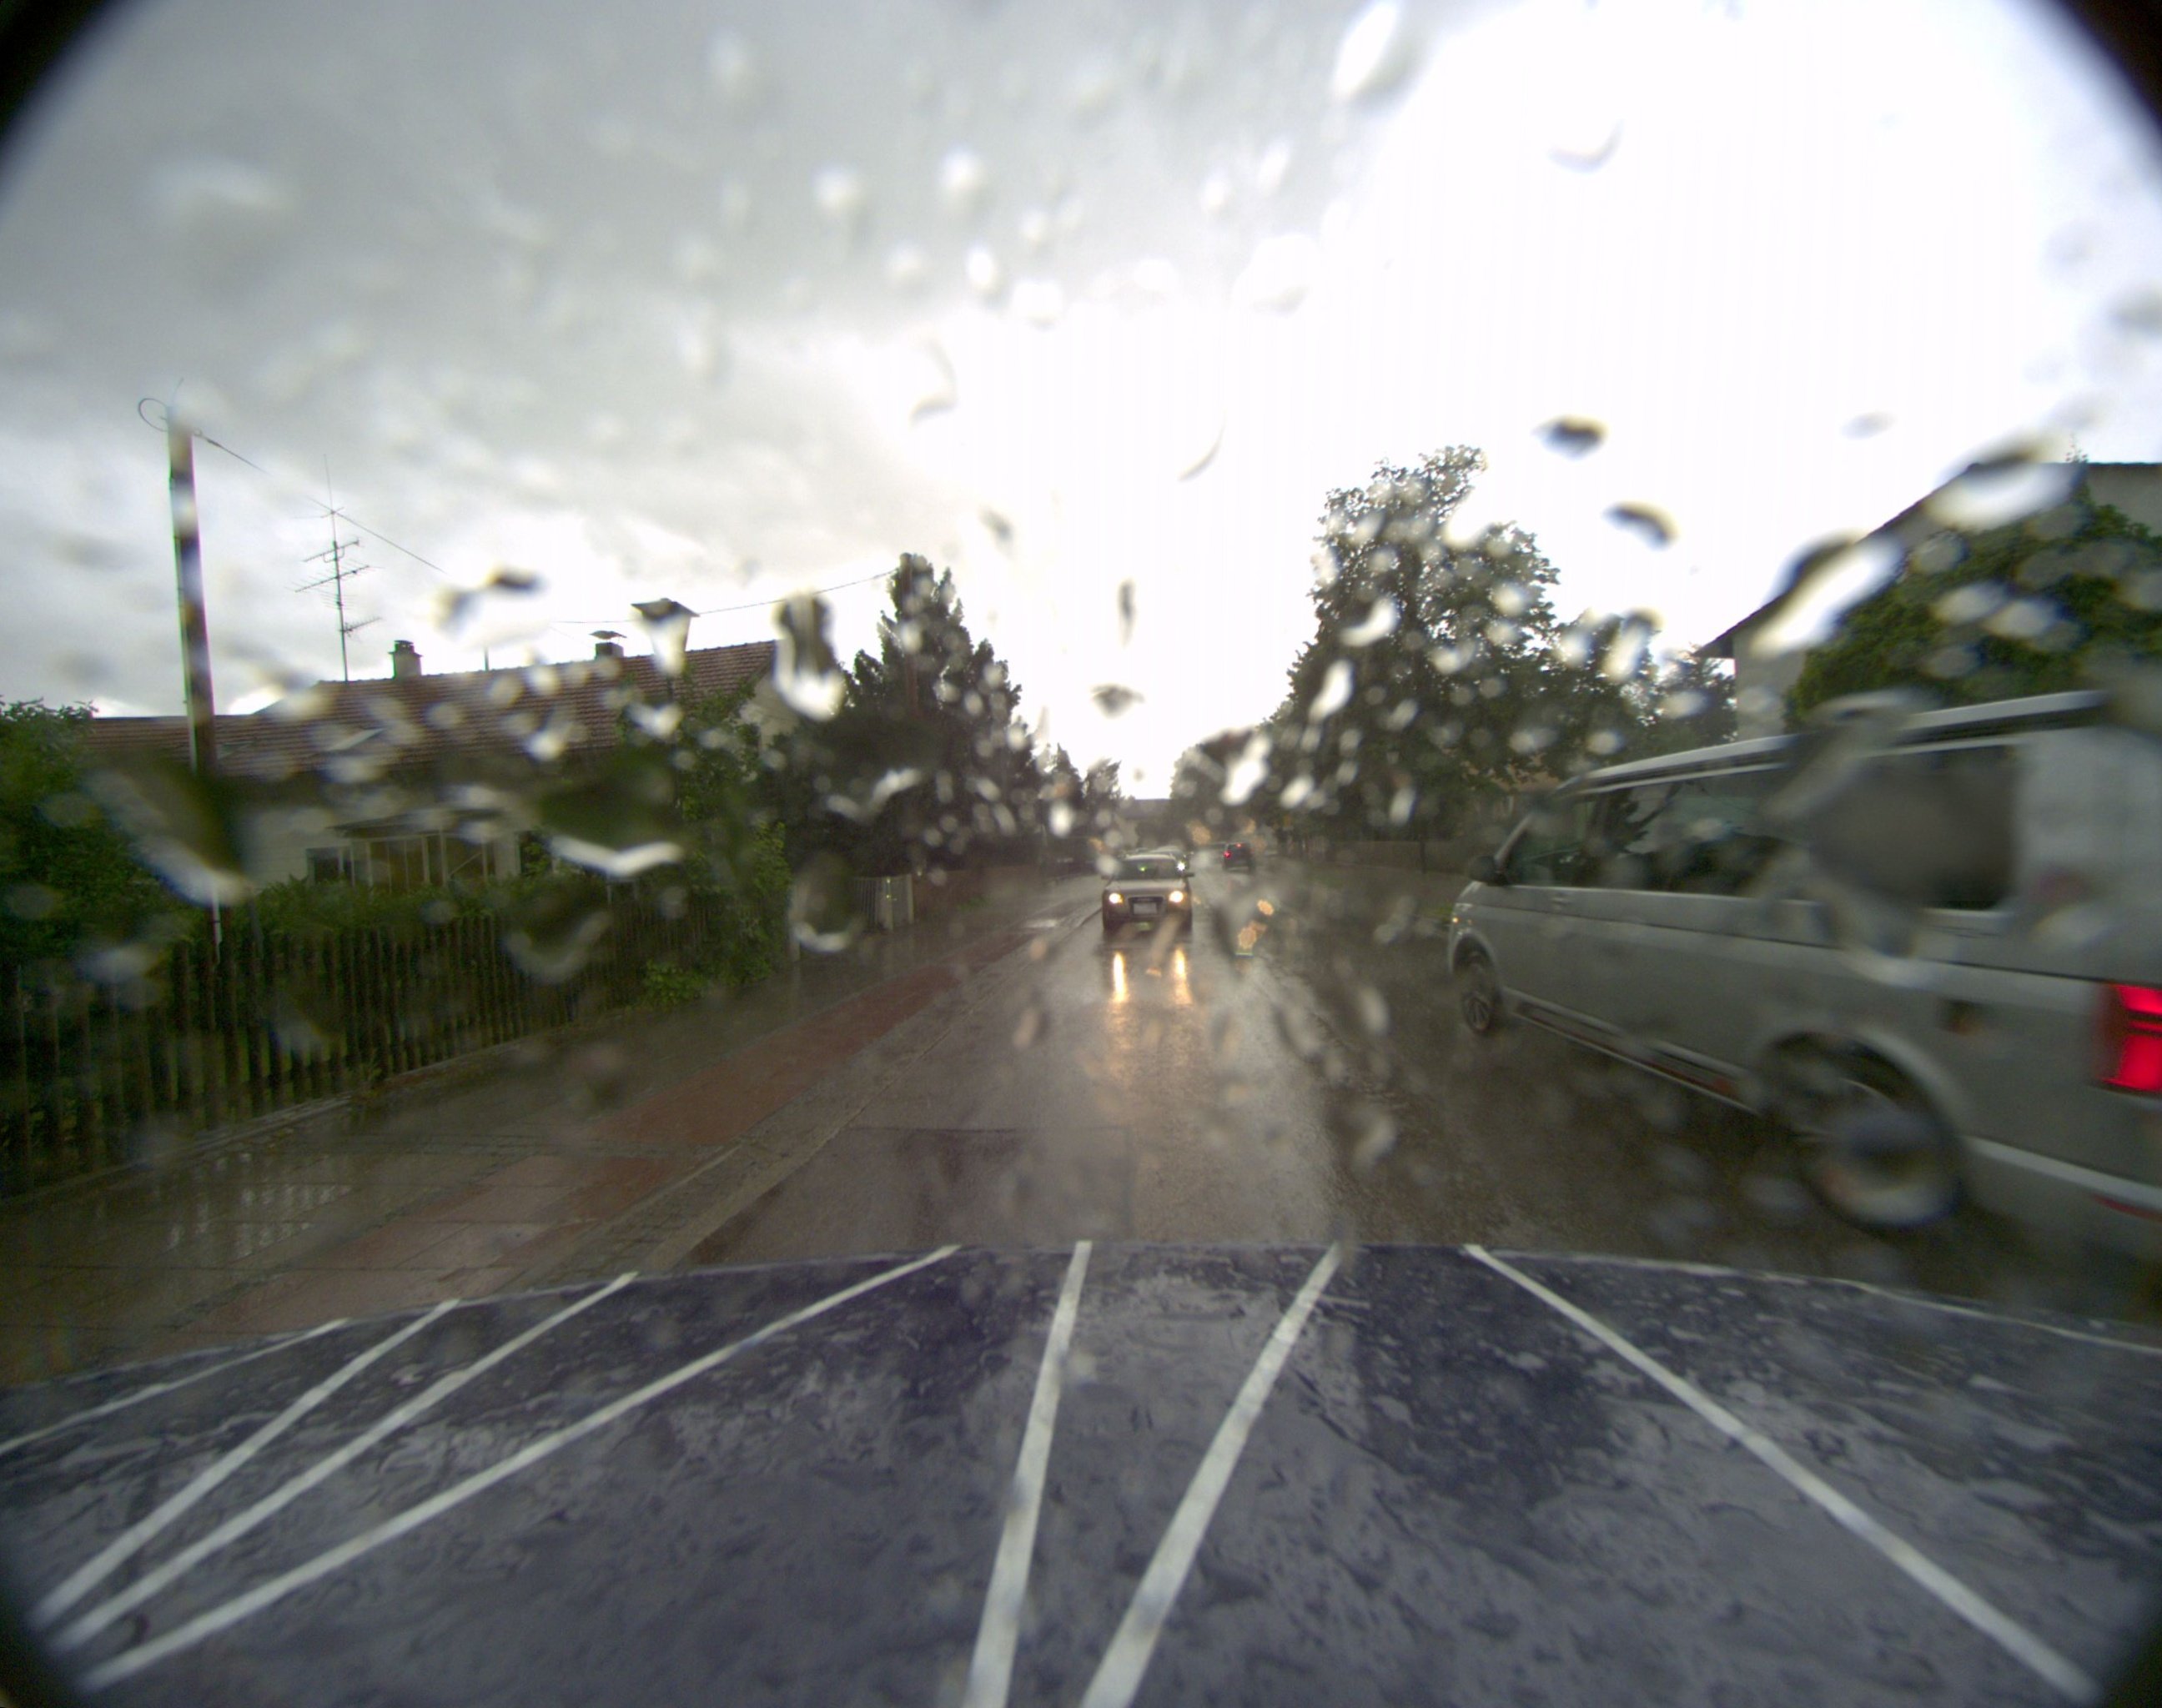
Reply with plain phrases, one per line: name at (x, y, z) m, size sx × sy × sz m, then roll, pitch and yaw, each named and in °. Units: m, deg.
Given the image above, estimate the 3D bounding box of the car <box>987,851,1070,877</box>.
car at (-2.823, 0.531, 41.812) m, size 4.440 × 1.413 × 1.830 m, roll 0°, pitch 1°, yaw 0°

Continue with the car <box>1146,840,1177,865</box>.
car at (5.667, -0.132, 53.174) m, size 1.871 × 1.512 × 4.963 m, roll -5°, pitch 1°, yaw 8°

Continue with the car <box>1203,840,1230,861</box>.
car at (11.114, -0.288, 62.420) m, size 1.757 × 1.668 × 4.001 m, roll -1°, pitch 1°, yaw 5°

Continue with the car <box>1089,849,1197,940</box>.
car at (1.389, 0.724, 15.776) m, size 1.871 × 1.512 × 4.190 m, roll -3°, pitch 1°, yaw 8°

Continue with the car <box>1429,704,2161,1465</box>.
car at (3.746, 0.551, 3.883) m, size 1.855 × 1.960 × 4.701 m, roll -1°, pitch 1°, yaw 1°

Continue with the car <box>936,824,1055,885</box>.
car at (-3.881, 0.006, 35.192) m, size 5.317 × 2.712 × 1.999 m, roll 0°, pitch 1°, yaw -2°

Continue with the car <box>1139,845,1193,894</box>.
car at (3.475, 0.542, 30.649) m, size 1.871 × 1.603 × 4.962 m, roll -5°, pitch 1°, yaw 8°

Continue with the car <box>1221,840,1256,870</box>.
car at (8.832, 0.022, 42.786) m, size 1.590 × 1.601 × 3.540 m, roll -2°, pitch 1°, yaw 7°
